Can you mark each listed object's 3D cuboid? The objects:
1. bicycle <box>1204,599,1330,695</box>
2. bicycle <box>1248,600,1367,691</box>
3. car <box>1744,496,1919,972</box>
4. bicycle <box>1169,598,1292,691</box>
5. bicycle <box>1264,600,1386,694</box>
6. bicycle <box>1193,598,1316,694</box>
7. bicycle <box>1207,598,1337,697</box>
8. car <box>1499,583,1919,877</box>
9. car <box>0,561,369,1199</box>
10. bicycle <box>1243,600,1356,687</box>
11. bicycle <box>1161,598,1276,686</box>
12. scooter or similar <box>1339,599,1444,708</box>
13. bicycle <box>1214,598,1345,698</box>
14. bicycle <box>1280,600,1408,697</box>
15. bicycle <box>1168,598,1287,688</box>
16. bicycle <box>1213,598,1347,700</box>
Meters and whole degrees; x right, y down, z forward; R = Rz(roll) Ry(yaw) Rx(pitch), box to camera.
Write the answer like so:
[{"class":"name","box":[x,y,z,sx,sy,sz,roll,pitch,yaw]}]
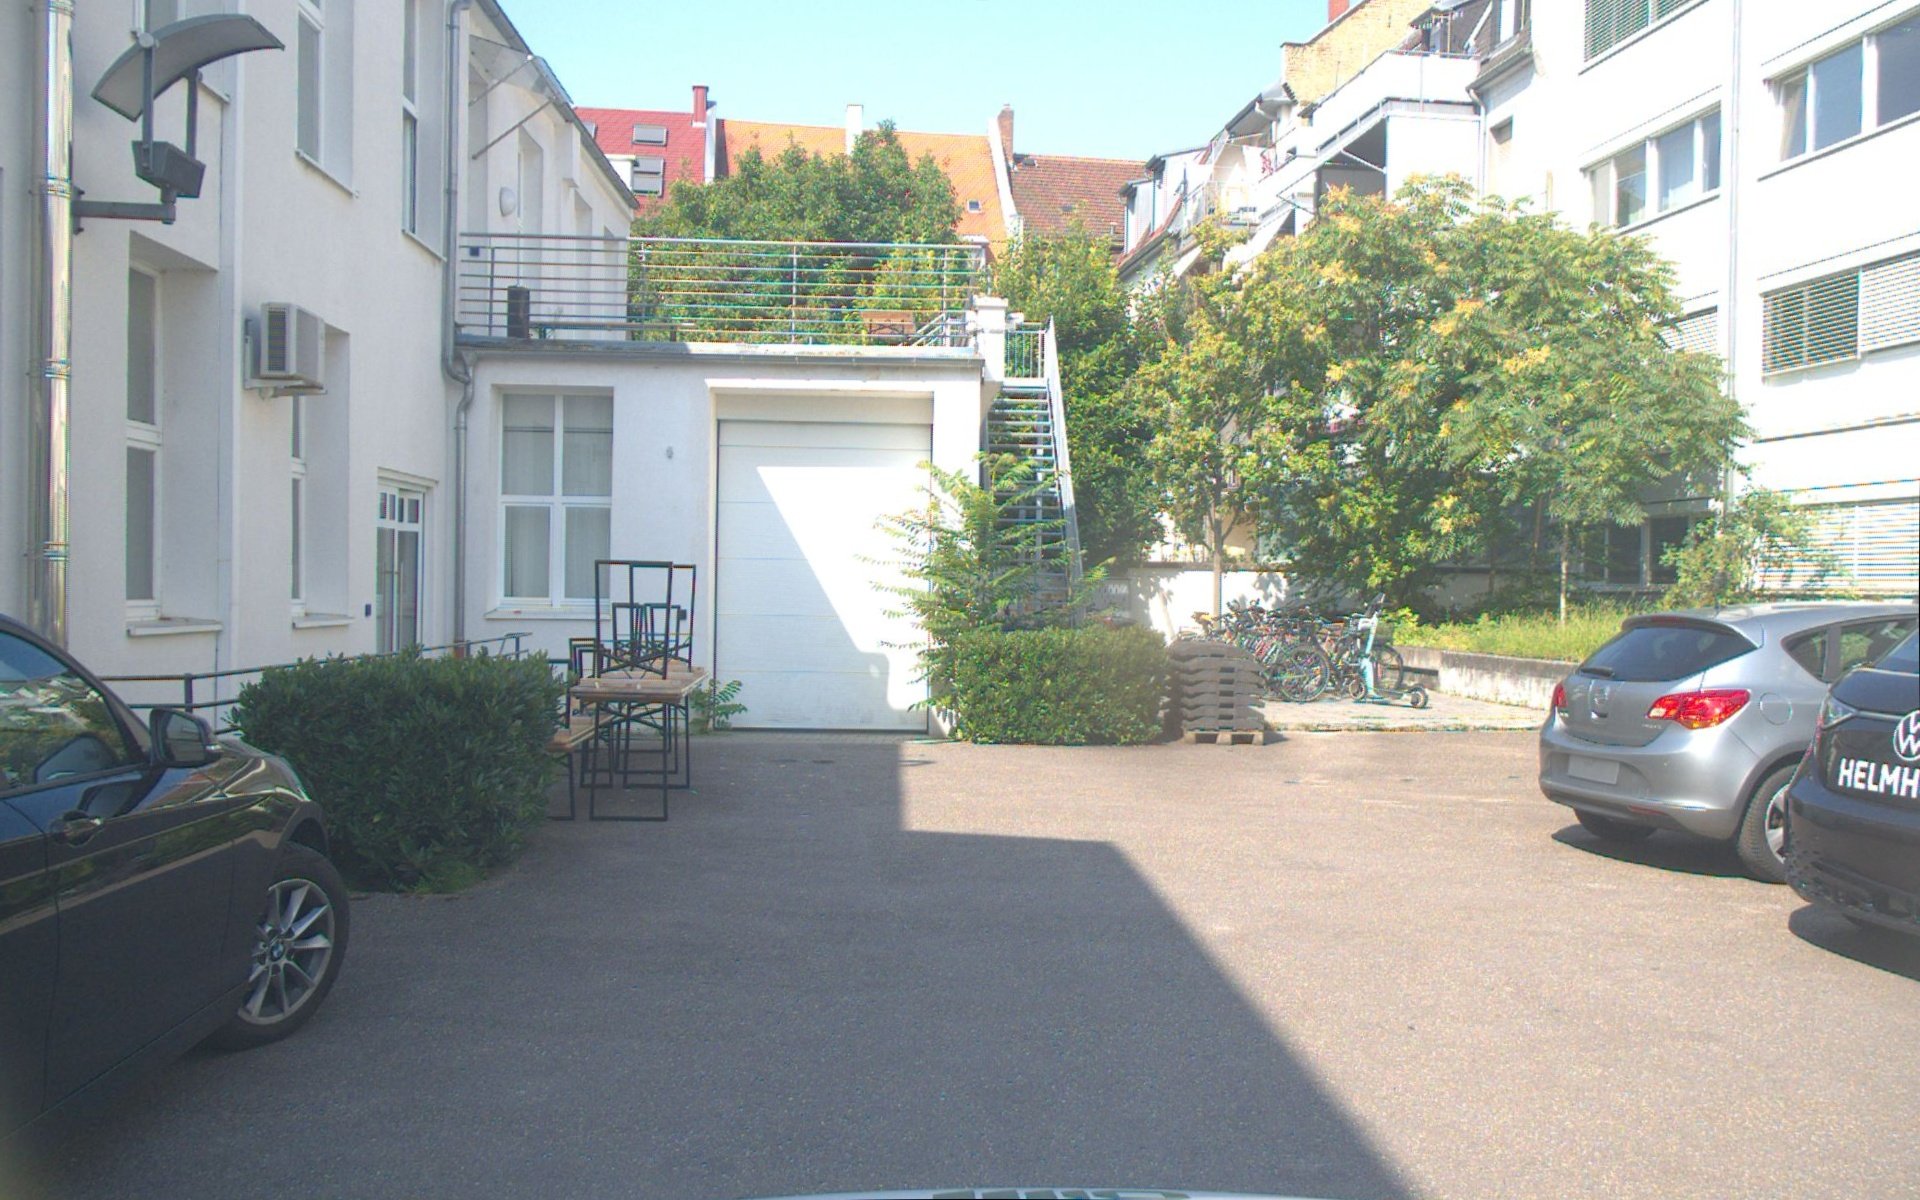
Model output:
[{"class":"bicycle","box":[3.973,0.601,21.459,1.588,1.235,0.327,0,0,8]},{"class":"bicycle","box":[4.788,0.617,22.831,1.588,1.235,0.424,0,0,10]},{"class":"car","box":[5.828,0.526,6.888,4.420,1.826,1.878,0,0,-12]},{"class":"bicycle","box":[3.673,0.595,22.488,1.590,1.235,0.424,0,0,-3]},{"class":"bicycle","box":[4.905,0.619,22.260,1.588,1.235,0.424,0,0,11]},{"class":"bicycle","box":[3.883,0.599,21.819,1.588,1.235,0.327,0,0,11]},{"class":"bicycle","box":[3.955,0.600,21.007,1.590,1.235,0.327,0,0,-1]},{"class":"car","box":[5.390,0.680,9.756,3.862,1.508,1.769,0,0,-12]},{"class":"car","box":[-2.642,0.653,3.379,1.655,1.484,3.920,1,0,-4]},{"class":"bicycle","box":[4.889,0.619,23.862,1.588,1.235,0.424,0,0,10]},{"class":"bicycle","box":[3.705,0.596,23.726,1.592,1.235,0.423,0,0,-7]},{"class":"scooter or similar","box":[5.255,0.632,20.202,0.375,1.283,1.333,0,0,-34]},{"class":"bicycle","box":[3.995,0.601,20.715,1.590,1.235,0.327,0,0,-1]},{"class":"bicycle","box":[4.960,0.620,21.401,1.588,1.235,0.327,0,0,13]},{"class":"bicycle","box":[3.732,0.596,23.125,1.592,1.235,0.423,0,0,-8]},{"class":"bicycle","box":[3.942,0.600,20.391,1.590,1.235,0.327,0,0,-1]}]
